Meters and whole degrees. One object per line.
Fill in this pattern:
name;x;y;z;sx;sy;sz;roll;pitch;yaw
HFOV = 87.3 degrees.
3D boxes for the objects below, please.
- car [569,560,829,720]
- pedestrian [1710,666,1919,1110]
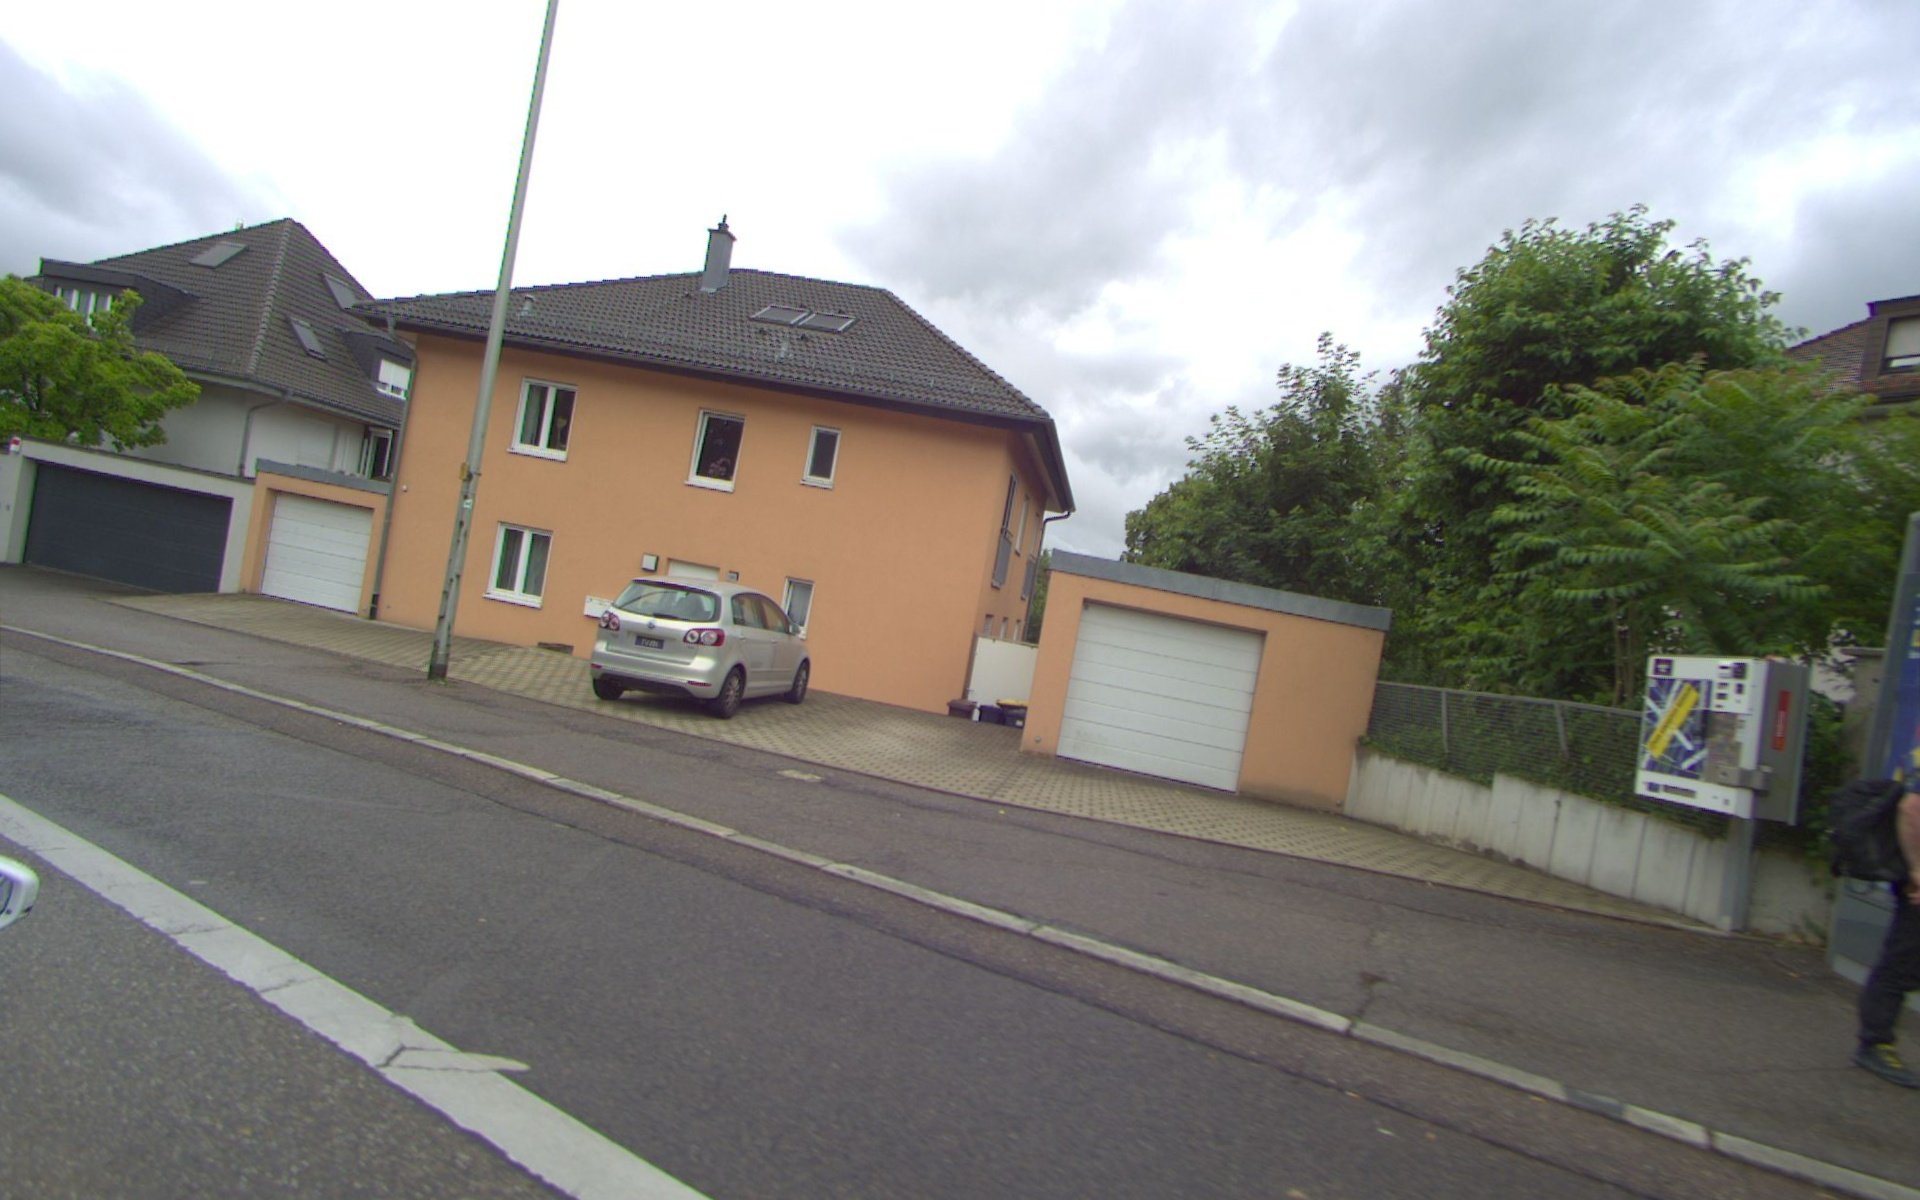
car;-3.215;0.505;13.250;1.694;1.585;3.873;8;0;10
pedestrian;4.203;1.214;4.314;0.915;1.675;1.093;7;0;-18
